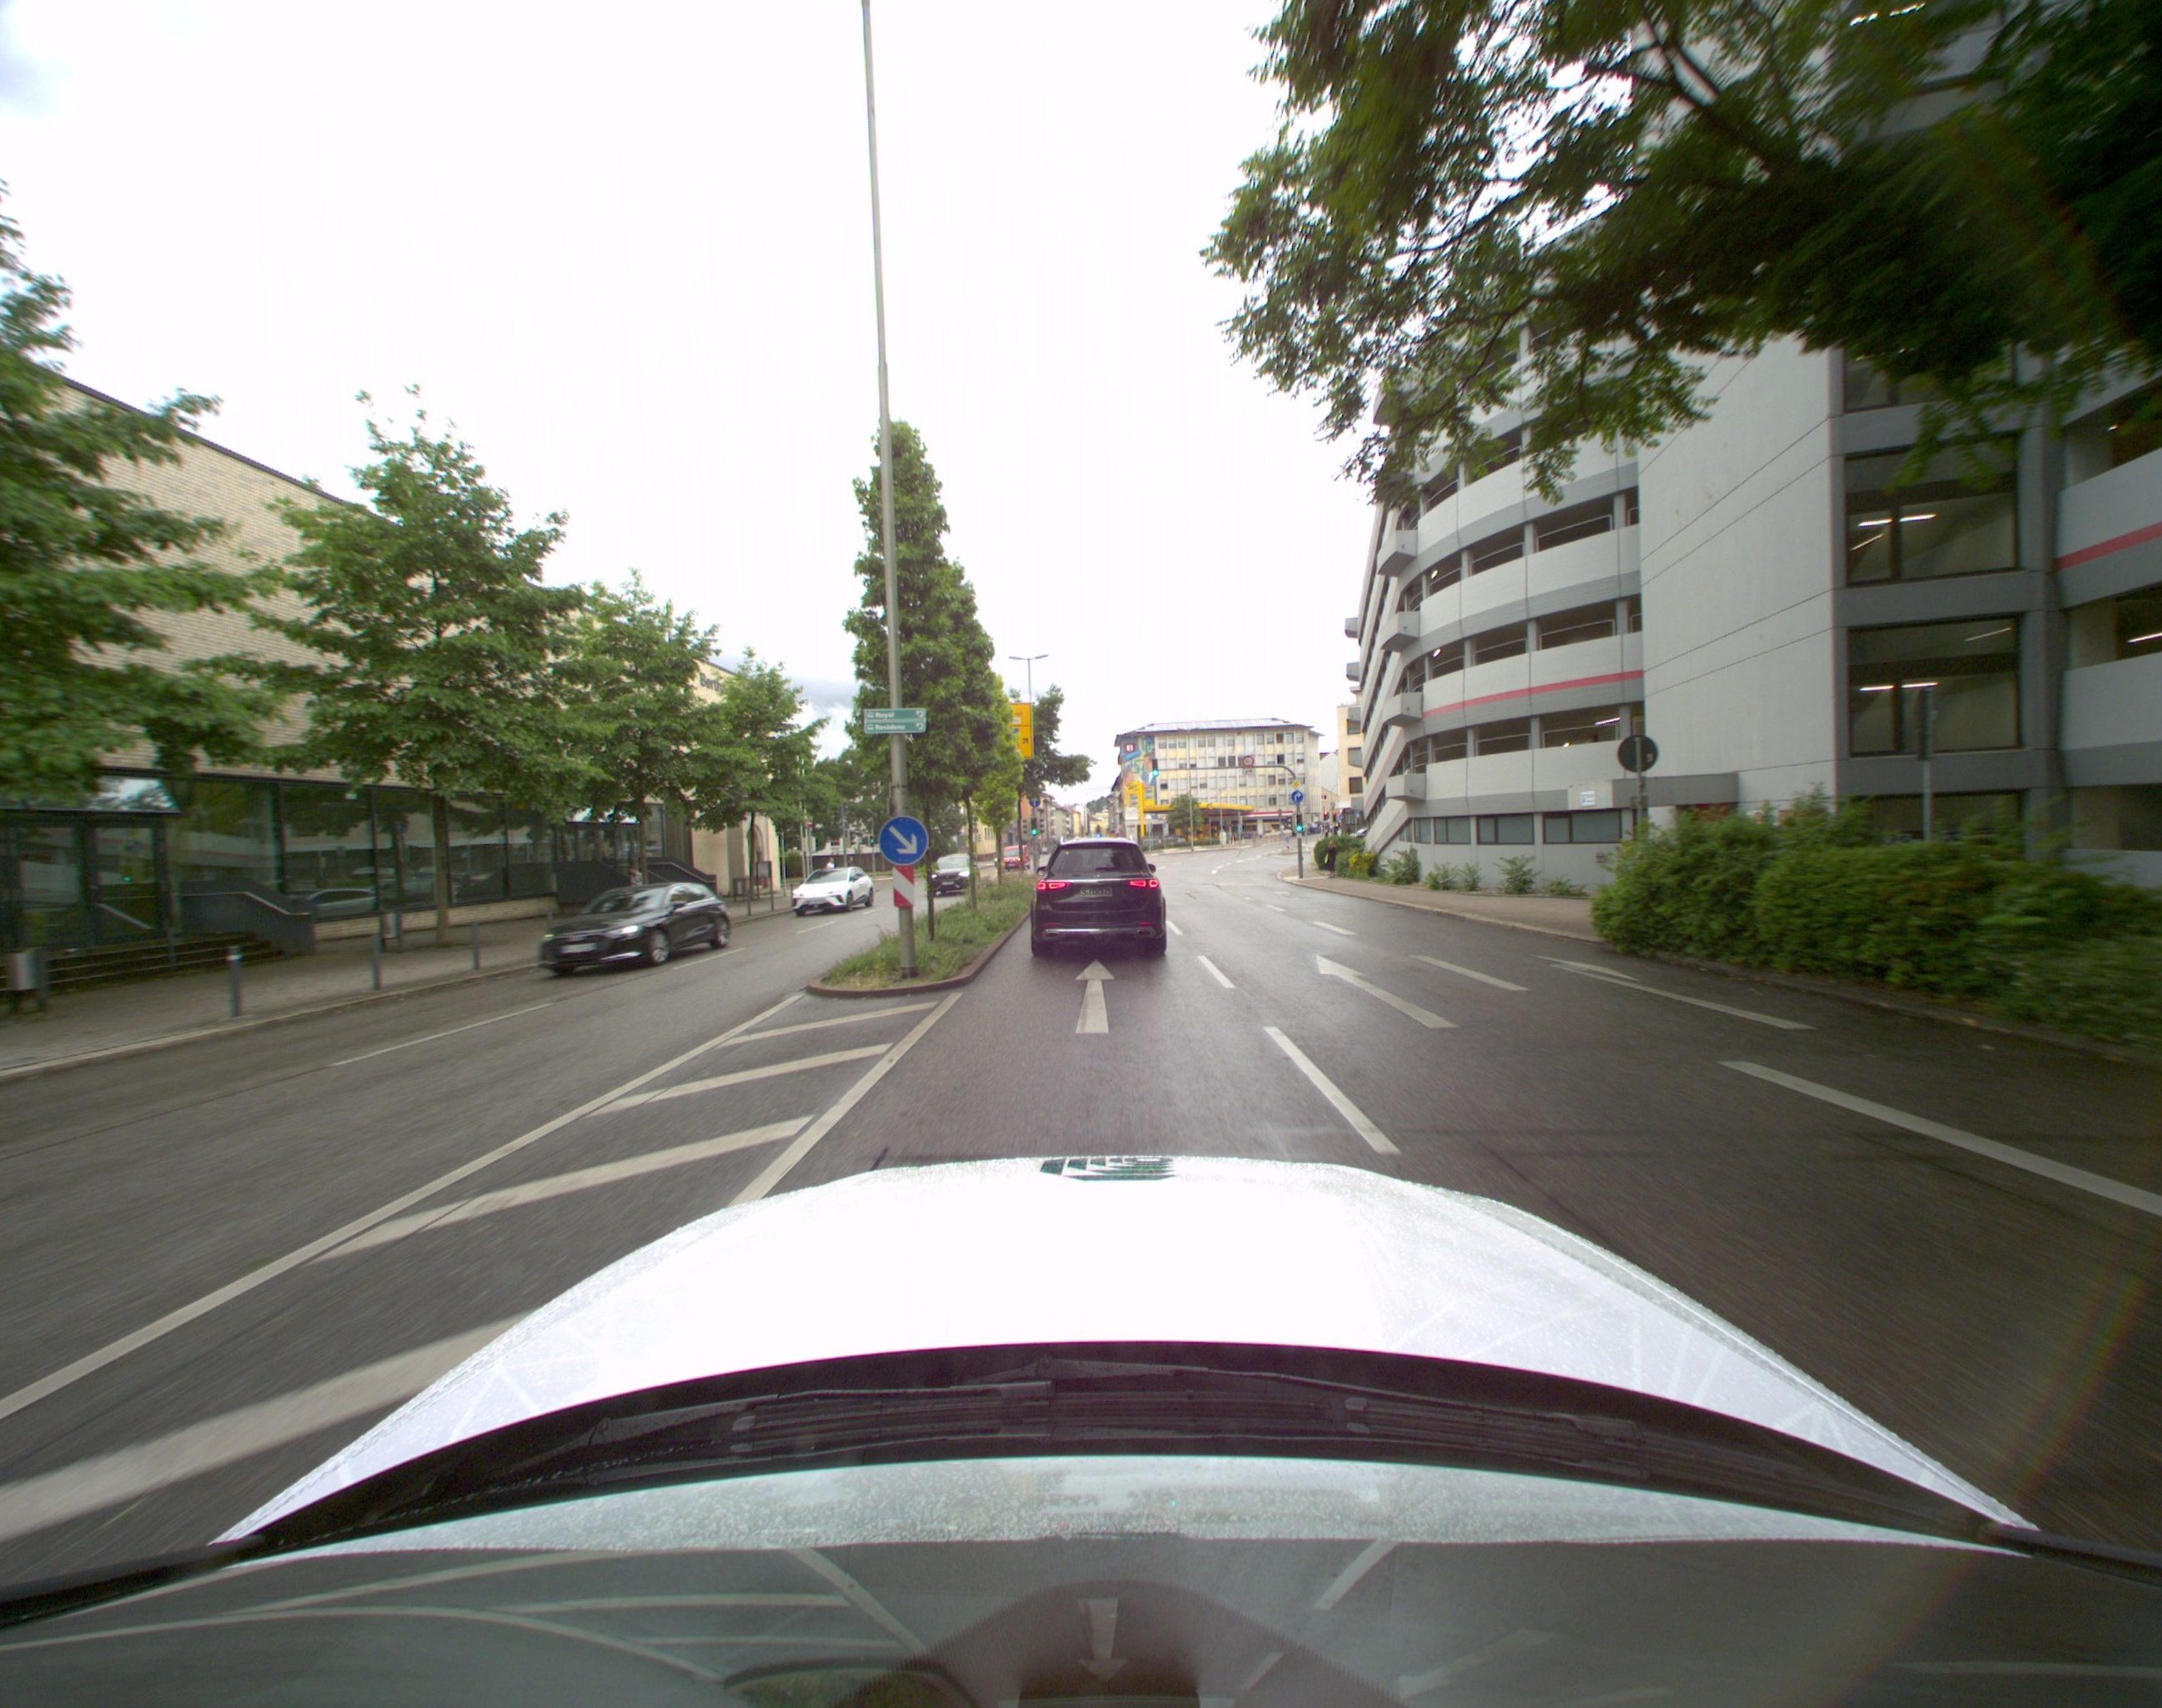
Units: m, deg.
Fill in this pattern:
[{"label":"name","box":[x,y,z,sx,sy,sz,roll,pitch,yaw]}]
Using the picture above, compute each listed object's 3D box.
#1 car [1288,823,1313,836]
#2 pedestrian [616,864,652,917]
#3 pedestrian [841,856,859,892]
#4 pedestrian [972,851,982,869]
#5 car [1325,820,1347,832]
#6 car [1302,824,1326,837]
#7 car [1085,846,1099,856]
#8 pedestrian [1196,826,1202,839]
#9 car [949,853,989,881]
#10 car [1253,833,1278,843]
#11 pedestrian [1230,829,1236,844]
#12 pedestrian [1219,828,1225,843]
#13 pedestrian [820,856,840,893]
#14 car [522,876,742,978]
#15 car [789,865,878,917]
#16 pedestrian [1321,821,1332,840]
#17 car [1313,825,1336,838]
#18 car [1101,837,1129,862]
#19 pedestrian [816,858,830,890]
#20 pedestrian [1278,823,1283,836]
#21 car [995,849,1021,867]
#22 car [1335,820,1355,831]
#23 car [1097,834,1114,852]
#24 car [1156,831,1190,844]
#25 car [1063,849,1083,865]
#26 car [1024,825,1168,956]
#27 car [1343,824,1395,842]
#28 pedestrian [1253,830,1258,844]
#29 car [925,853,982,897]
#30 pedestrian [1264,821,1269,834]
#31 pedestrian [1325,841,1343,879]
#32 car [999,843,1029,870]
[{"label":"car","box":[29.824,-3.347,110.536,1.974,1.705,4.026,-3,1,35]},{"label":"pedestrian","box":[-14.439,1.172,26.344,0.641,1.666,1.017,0,-1,-4]},{"label":"pedestrian","box":[-11.385,0.979,40.136,0.687,1.757,0.716,-2,0,-10]},{"label":"pedestrian","box":[-10.492,0.602,82.300,0.633,1.727,0.642,-3,0,-43]},{"label":"car","box":[38.785,-4.276,123.917,1.974,1.705,4.026,-3,1,35]},{"label":"car","box":[32.852,-3.322,114.749,1.974,1.705,4.026,-3,1,35]},{"label":"car","box":[1.820,-0.523,132.752,1.985,1.547,4.194,-1,-1,4]},{"label":"pedestrian","box":[15.736,-2.832,108.433,0.521,1.727,0.693,-2,0,31]},{"label":"car","box":[-7.183,0.779,52.630,1.882,1.586,4.536,-4,0,0]},{"label":"car","box":[27.171,-2.346,119.848,1.974,1.398,4.025,-1,-1,40]},{"label":"pedestrian","box":[17.263,-1.975,92.423,0.570,1.697,0.631,0,-1,2]},{"label":"pedestrian","box":[16.259,-2.095,93.927,0.521,1.727,0.693,-2,0,28]},{"label":"pedestrian","box":[-11.803,0.958,38.319,0.609,1.656,0.691,-3,0,-1]},{"label":"car","box":[-8.054,1.220,15.125,1.728,1.393,4.197,-4,0,-1]},{"label":"car","box":[-8.449,1.216,28.149,1.728,1.469,4.229,-5,0,-1]},{"label":"pedestrian","box":[27.914,-2.635,92.583,0.853,2.128,0.947,-3,0,-5]},{"label":"car","box":[35.558,-3.295,118.917,1.974,1.705,4.026,-3,1,35]},{"label":"car","box":[2.504,-0.310,60.725,1.986,1.800,4.001,0,-1,1]},{"label":"pedestrian","box":[-12.543,0.980,39.646,0.437,1.534,0.545,-3,0,-1]},{"label":"pedestrian","box":[27.092,-3.339,110.507,0.478,1.641,0.441,-1,-1,30]},{"label":"car","box":[-6.875,0.371,76.937,1.840,1.429,4.436,-4,1,1]},{"label":"car","box":[41.651,-4.491,128.445,1.974,1.705,4.026,-3,1,35]},{"label":"car","box":[2.892,-1.266,97.548,1.987,2.014,4.000,0,-1,0]},{"label":"car","box":[11.330,-2.059,100.775,1.747,1.376,3.951,-3,1,-42]},{"label":"car","box":[-0.851,0.358,86.540,1.986,1.614,4.190,0,-1,1]},{"label":"car","box":[0.258,0.533,13.312,1.986,1.800,4.001,0,-1,1]},{"label":"car","box":[26.776,-1.918,75.807,4.160,1.439,1.863,-3,0,7]},{"label":"pedestrian","box":[18.282,-1.797,85.383,0.394,1.400,0.447,0,-1,2]},{"label":"car","box":[-5.373,0.859,34.886,1.728,1.625,4.229,-5,0,-1]},{"label":"pedestrian","box":[24.710,-3.488,108.525,0.521,1.727,0.693,-2,0,28]},{"label":"pedestrian","box":[11.676,0.284,37.575,0.639,1.710,0.474,-2,-2,37]},{"label":"car","box":[-4.975,0.189,60.873,1.787,1.854,4.791,-4,0,-1]}]
